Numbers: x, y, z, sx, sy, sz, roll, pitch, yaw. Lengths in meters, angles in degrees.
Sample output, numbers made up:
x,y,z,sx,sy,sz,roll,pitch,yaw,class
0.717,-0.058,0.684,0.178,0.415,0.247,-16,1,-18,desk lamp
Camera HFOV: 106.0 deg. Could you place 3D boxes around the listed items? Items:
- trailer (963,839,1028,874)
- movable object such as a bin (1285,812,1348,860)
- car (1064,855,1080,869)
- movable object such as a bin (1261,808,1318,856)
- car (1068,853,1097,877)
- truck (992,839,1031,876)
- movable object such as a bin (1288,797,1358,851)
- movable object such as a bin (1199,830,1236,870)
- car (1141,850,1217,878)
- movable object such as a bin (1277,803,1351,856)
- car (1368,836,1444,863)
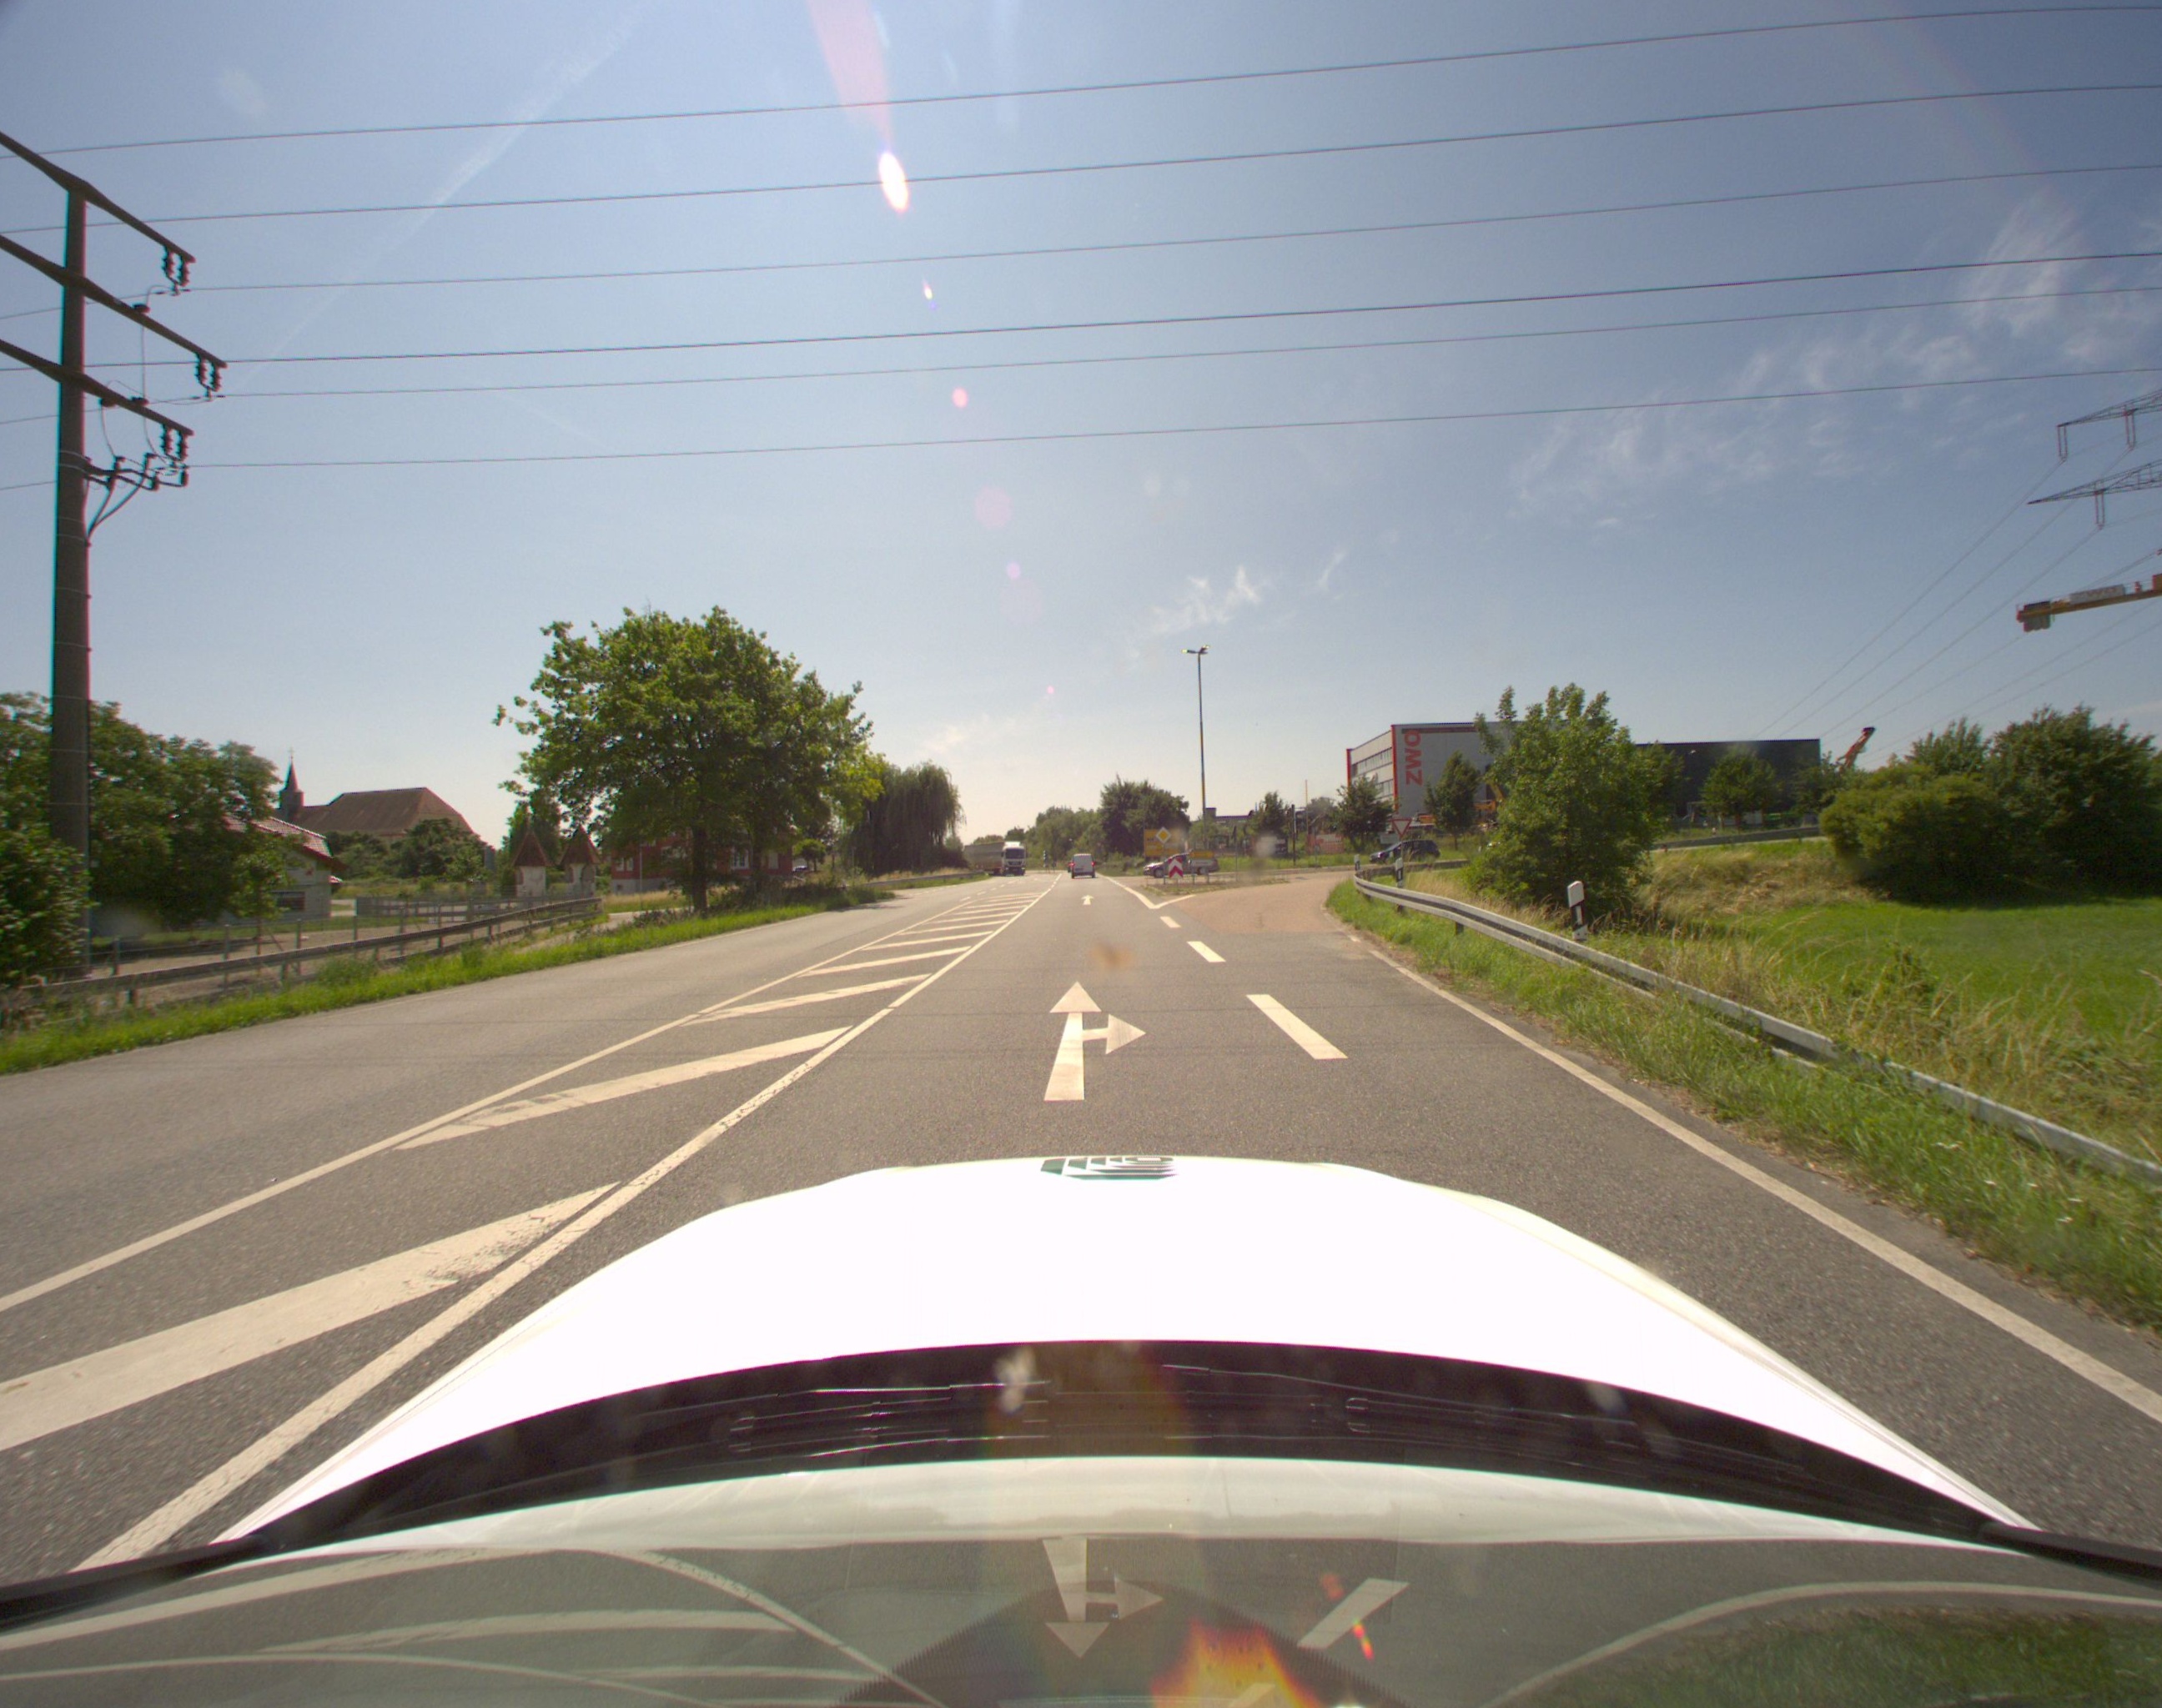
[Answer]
x,y,z,sx,sy,sz,roll,pitch,yaw,class
-10.709,0.331,99.840,2.807,4.056,13.372,0,0,-30,trailer
21.682,-1.601,75.177,5.065,4.275,2.835,0,-2,2,movable object such as a bin
-1.094,0.981,99.524,1.800,1.556,3.999,-2,1,-1,car
23.719,-2.445,92.672,5.694,5.270,3.223,0,-2,2,movable object such as a bin
0.089,0.843,60.872,1.899,1.732,3.817,-1,-1,-3,car
-8.100,0.388,94.343,2.799,4.056,6.708,0,0,-20,truck
23.642,-2.886,79.822,5.895,5.106,3.110,0,-2,2,movable object such as a bin
11.825,-0.296,70.738,2.316,3.250,5.099,0,-2,-1,movable object such as a bin
6.029,0.631,50.465,4.497,1.508,1.914,-3,0,0,car
23.864,-2.496,83.713,6.565,5.148,3.808,0,-2,2,movable object such as a bin
19.879,-0.268,49.898,3.984,1.440,1.635,-3,0,2,car
